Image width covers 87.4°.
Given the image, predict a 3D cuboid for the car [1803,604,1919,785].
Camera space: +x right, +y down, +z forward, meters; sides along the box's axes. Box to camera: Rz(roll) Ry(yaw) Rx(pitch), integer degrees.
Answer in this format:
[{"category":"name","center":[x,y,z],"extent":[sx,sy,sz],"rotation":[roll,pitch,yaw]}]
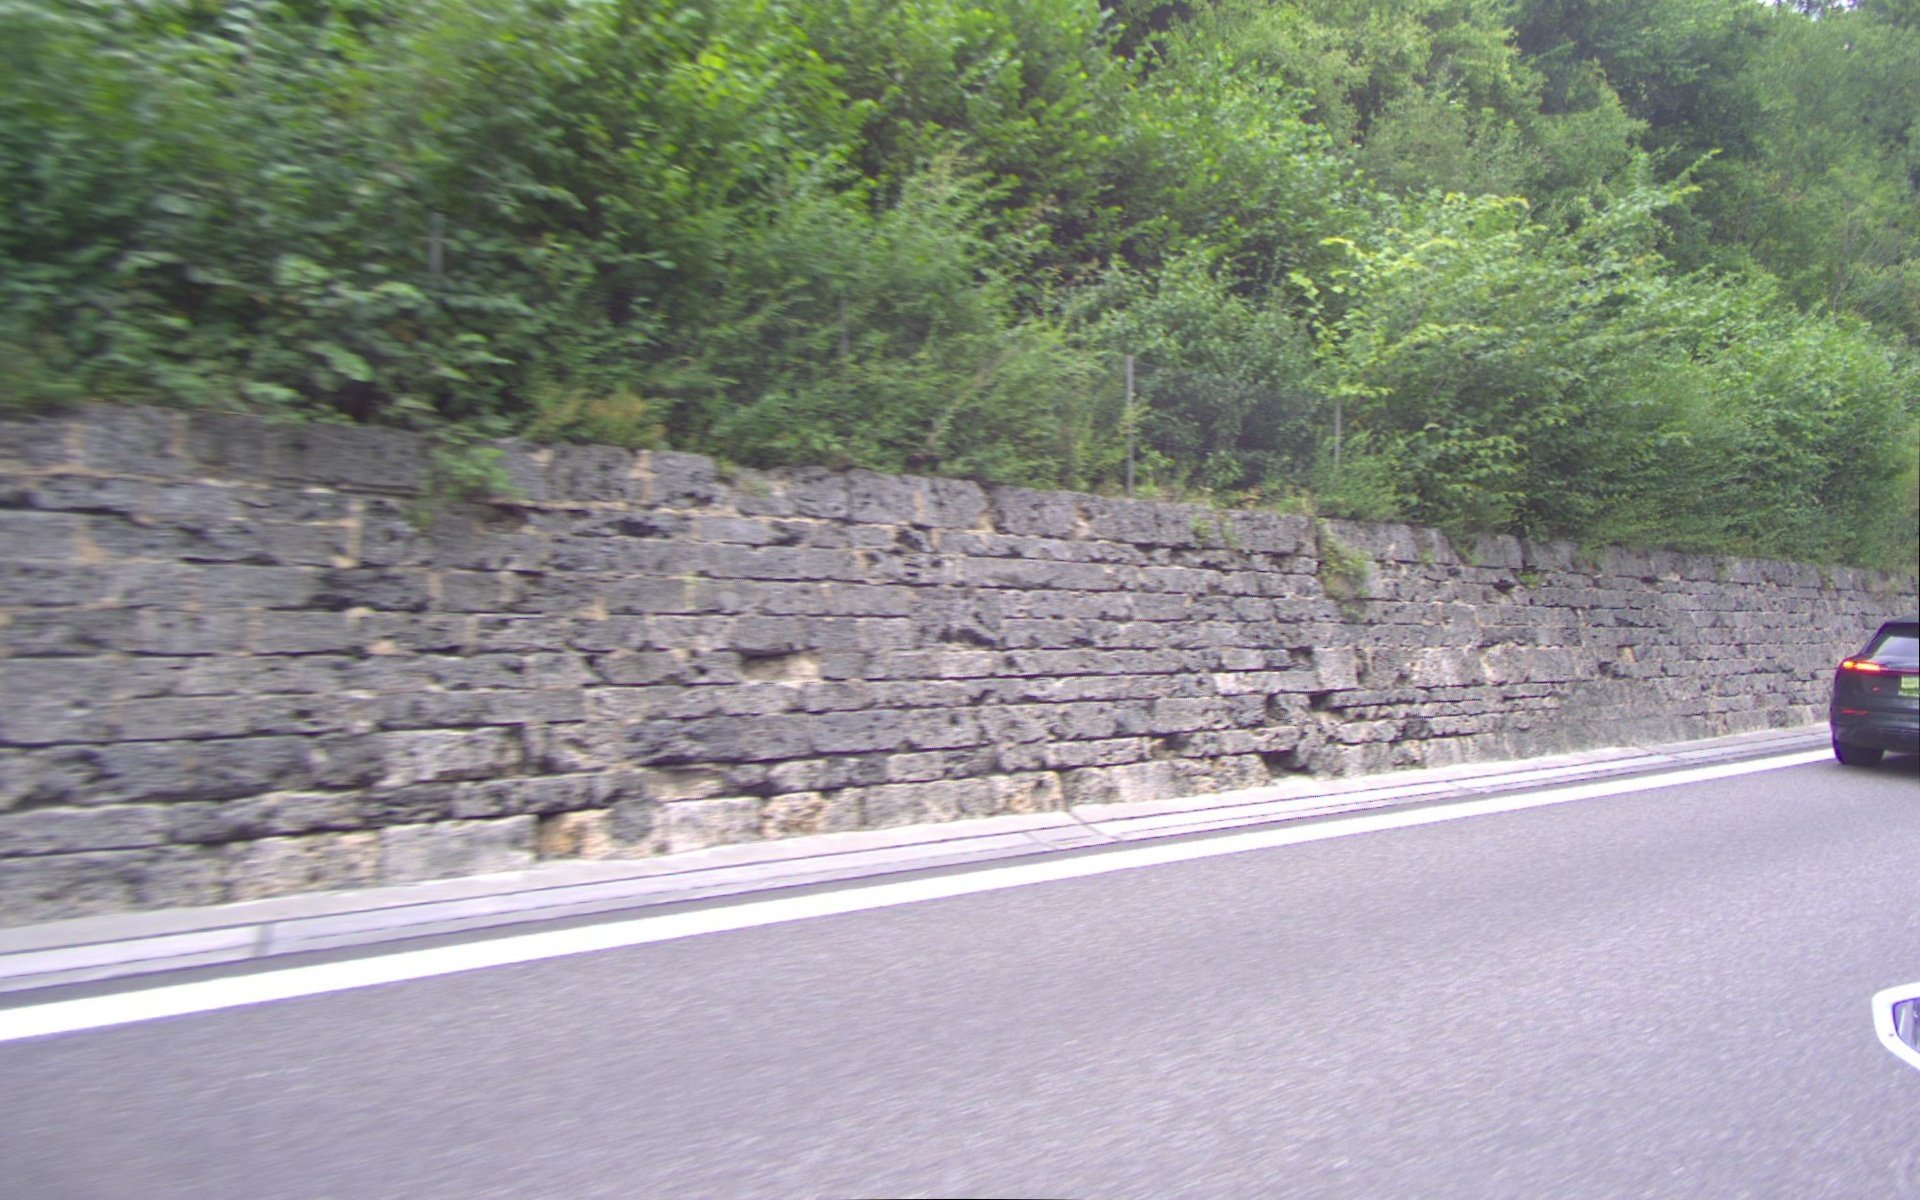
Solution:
[{"category":"car","center":[10.958,0.912,10.433],"extent":[4.953,1.654,1.983],"rotation":[1,-1,-32]}]
